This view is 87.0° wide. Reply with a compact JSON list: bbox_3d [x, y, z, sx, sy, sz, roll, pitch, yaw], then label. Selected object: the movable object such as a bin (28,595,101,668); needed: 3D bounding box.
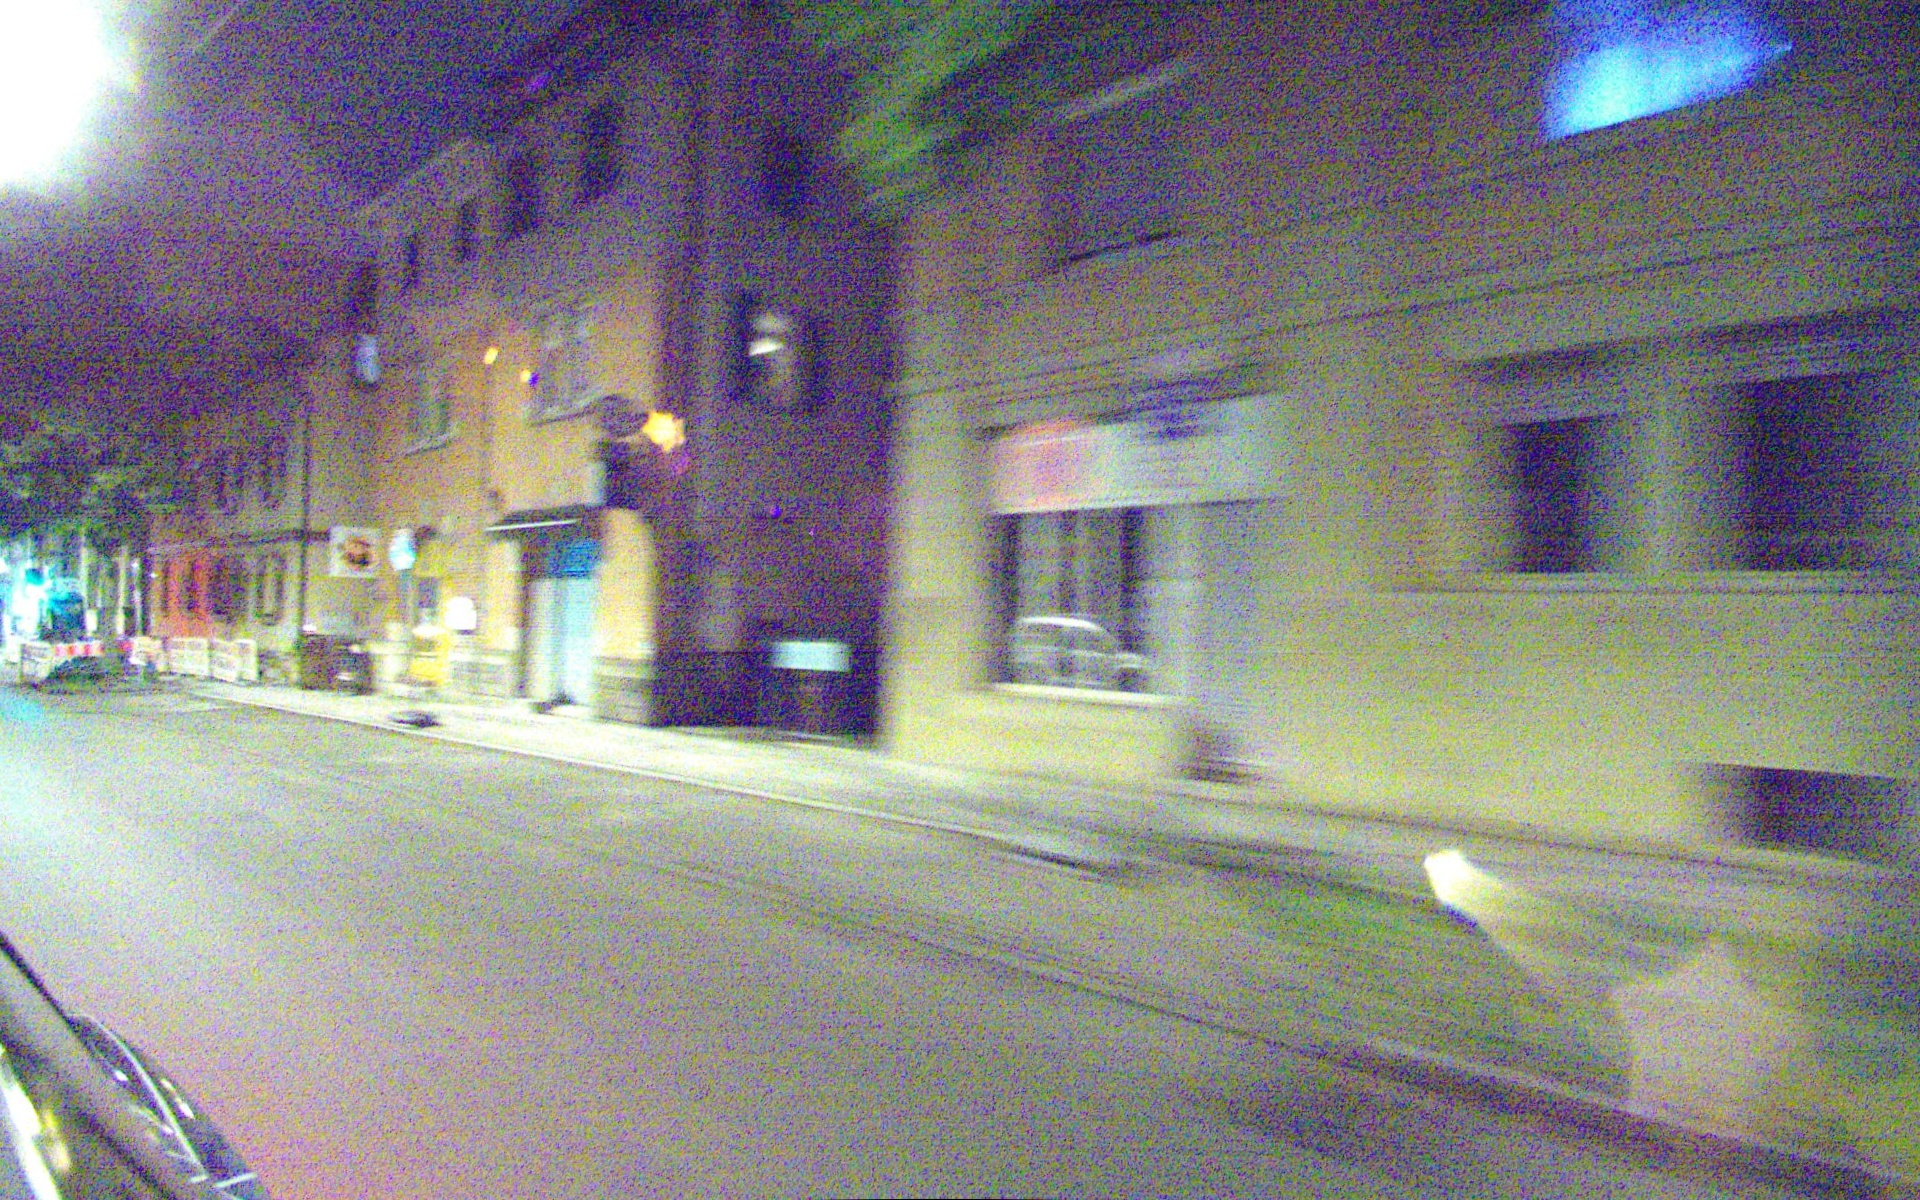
[{"bbox_3d":[-34.381,1.215,38.824,3.908,2.647,1.554,-1,-4,42],"label":"movable object such as a bin"}]
